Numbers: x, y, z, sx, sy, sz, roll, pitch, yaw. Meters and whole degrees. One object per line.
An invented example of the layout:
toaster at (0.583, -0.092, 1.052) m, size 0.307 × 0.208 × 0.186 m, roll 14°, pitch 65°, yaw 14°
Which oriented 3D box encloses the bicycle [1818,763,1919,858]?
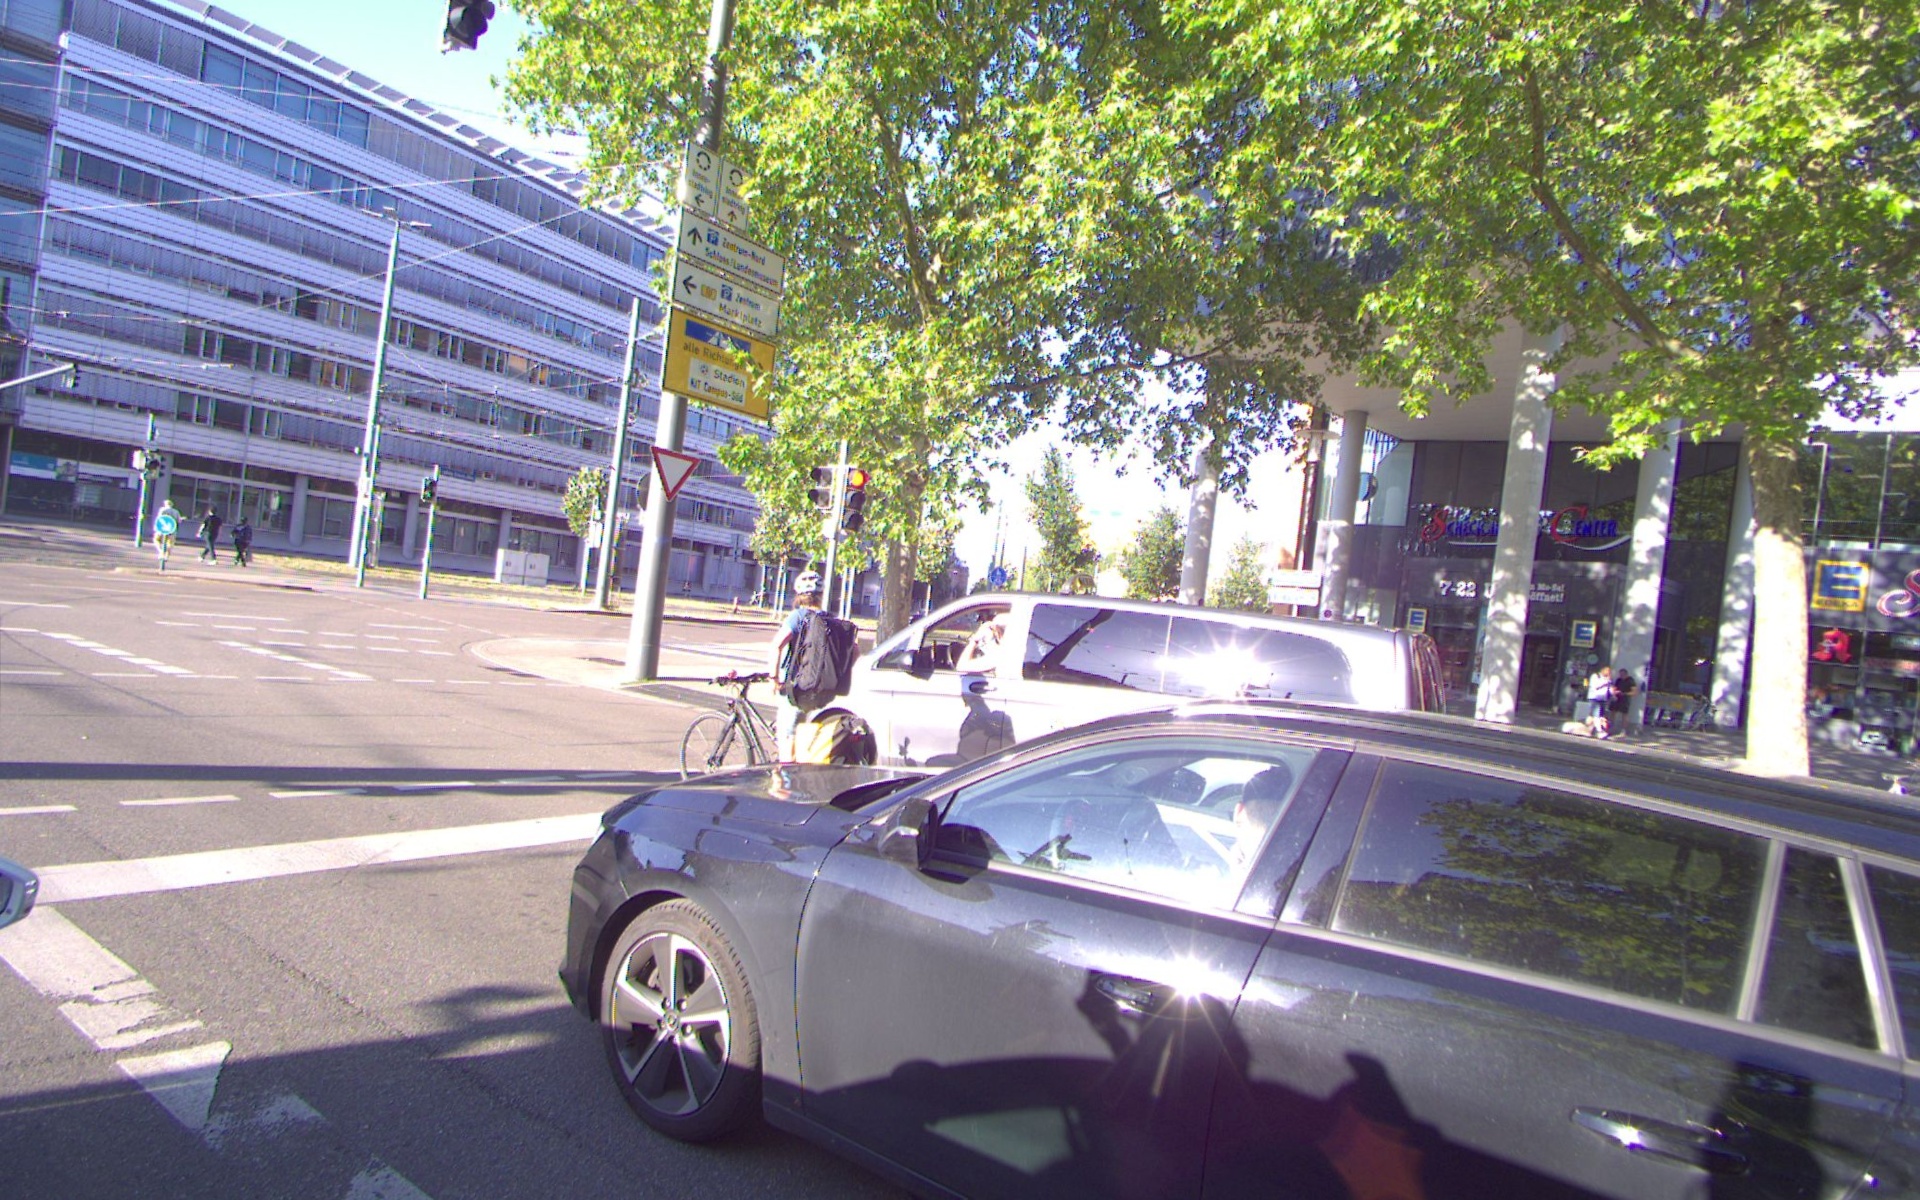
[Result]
bicycle at (11.196, 2.541, 12.085) m, size 0.437 × 0.930 × 1.210 m, roll 6°, pitch 0°, yaw -39°

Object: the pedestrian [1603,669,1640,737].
pedestrian at (17.573, 2.741, 26.728) m, size 0.598 × 1.707 × 0.511 m, roll 6°, pitch 1°, yaw -41°

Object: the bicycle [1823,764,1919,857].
bicycle at (11.494, 2.603, 12.357) m, size 0.460 × 0.938 × 1.210 m, roll 6°, pitch 0°, yaw -39°

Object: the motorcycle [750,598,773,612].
motorcycle at (-13.615, 0.347, 69.074) m, size 0.460 × 0.820 × 1.568 m, roll 7°, pitch 0°, yaw 36°

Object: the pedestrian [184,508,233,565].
pedestrian at (-24.322, -2.057, 32.556) m, size 1.020 × 1.706 × 0.912 m, roll 7°, pitch 1°, yaw 39°

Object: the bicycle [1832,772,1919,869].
bicycle at (10.537, 2.475, 11.098) m, size 1.233 × 0.898 × 0.462 m, roll 7°, pitch 1°, yaw 32°

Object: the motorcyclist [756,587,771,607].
motorcyclist at (-13.497, -0.226, 69.130) m, size 0.452 × 1.291 × 0.712 m, roll 7°, pitch 1°, yaw 36°

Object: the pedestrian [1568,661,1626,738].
pedestrian at (16.162, 2.510, 25.536) m, size 0.594 × 1.805 × 0.884 m, roll 6°, pitch 1°, yaw -17°

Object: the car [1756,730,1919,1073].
car at (6.527, 1.730, 4.610) m, size 4.181 × 1.503 × 1.741 m, roll 7°, pitch 0°, yaw 31°

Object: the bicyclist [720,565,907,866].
bicyclist at (-0.918, 0.695, 6.355) m, size 0.766 × 1.714 × 0.632 m, roll 7°, pitch 1°, yaw 32°

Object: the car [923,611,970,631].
car at (-1.099, 1.782, 84.930) m, size 1.758 × 1.411 × 3.984 m, roll 7°, pitch 1°, yaw 37°

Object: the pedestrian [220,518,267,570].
pedestrian at (-23.704, -1.853, 33.282) m, size 0.883 × 1.583 × 0.947 m, roll 7°, pitch 1°, yaw 39°

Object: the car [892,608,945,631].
car at (-3.178, 1.516, 77.512) m, size 1.758 × 1.415 × 4.157 m, roll 7°, pitch 0°, yaw 37°

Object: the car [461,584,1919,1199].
car at (0.764, 0.955, 2.751) m, size 4.199 × 1.431 × 1.742 m, roll 7°, pitch -2°, yaw 32°

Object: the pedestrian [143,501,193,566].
pedestrian at (-23.783, -1.996, 30.199) m, size 0.858 × 1.811 × 0.863 m, roll 7°, pitch 1°, yaw 38°

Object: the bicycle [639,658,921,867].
bicycle at (-1.219, 0.997, 6.611) m, size 1.839 × 0.993 × 0.561 m, roll 7°, pitch 1°, yaw 32°

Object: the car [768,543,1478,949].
car at (1.113, 0.843, 7.951) m, size 5.012 × 2.004 × 1.939 m, roll 7°, pitch 0°, yaw 31°
